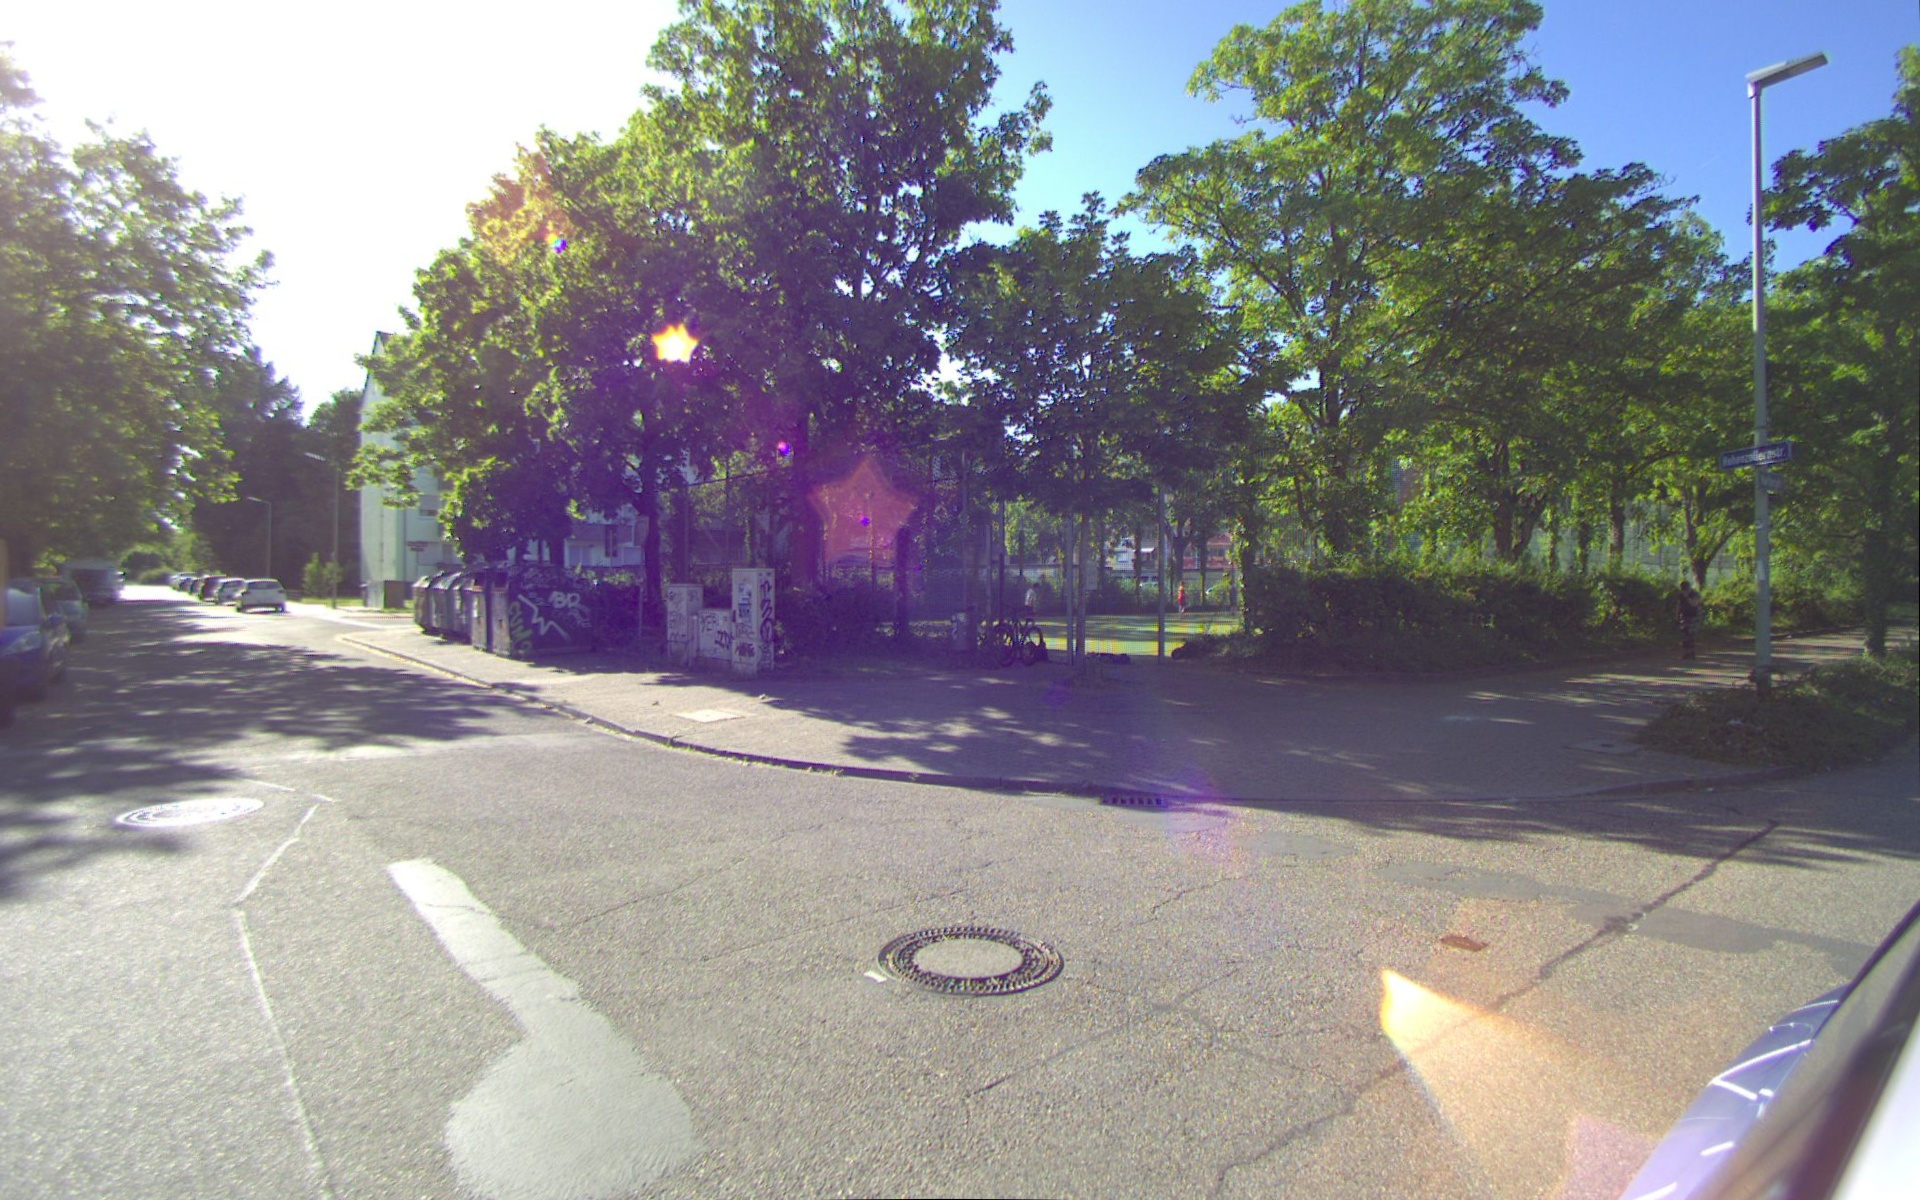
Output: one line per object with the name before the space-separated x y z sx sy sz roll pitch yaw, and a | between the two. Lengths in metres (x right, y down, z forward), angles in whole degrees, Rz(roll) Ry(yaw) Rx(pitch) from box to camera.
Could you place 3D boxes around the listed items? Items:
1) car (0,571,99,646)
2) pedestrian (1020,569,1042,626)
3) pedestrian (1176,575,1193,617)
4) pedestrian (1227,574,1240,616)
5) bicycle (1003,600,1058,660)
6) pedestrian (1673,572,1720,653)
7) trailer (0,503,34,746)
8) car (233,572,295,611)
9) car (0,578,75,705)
car | -22.228 0.157 24.564 1.840 1.671 3.997 0 1 -38
pedestrian | 1.964 -0.075 28.150 0.422 1.555 0.436 0 0 -44
pedestrian | 8.451 -0.162 38.058 0.422 1.555 0.436 0 0 -44
pedestrian | 10.260 -0.186 37.959 0.387 1.555 0.319 0 0 -44
bicycle | 1.161 0.492 16.772 0.890 0.970 0.295 0 0 3
pedestrian | 15.327 0.249 21.064 0.629 1.659 0.642 0 0 -37
trailer | -10.380 0.176 9.732 1.943 2.146 4.070 1 1 -40
car | -31.070 -0.402 45.119 2.029 1.671 3.997 0 1 -38
car | -13.330 0.490 13.649 1.856 1.530 3.928 -2 2 -38
